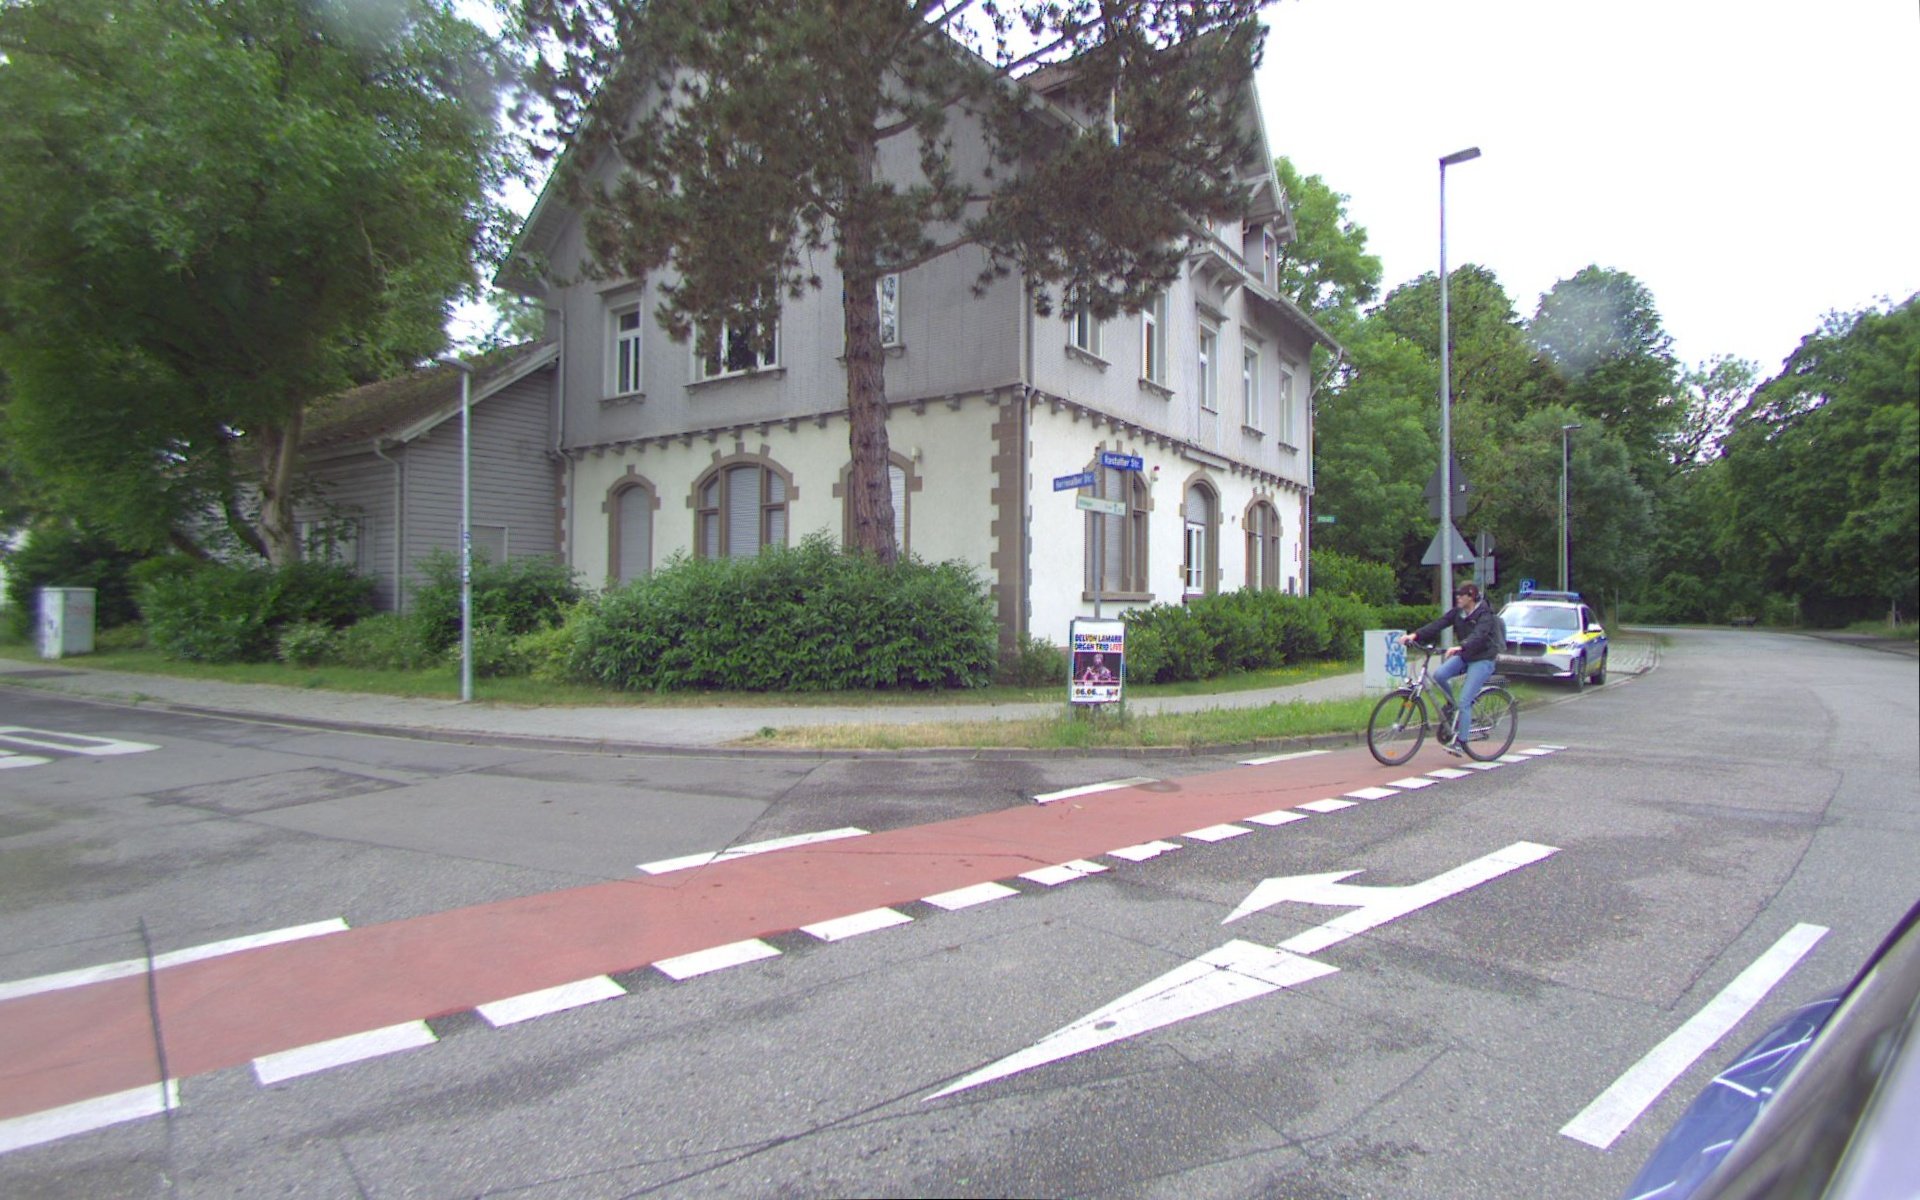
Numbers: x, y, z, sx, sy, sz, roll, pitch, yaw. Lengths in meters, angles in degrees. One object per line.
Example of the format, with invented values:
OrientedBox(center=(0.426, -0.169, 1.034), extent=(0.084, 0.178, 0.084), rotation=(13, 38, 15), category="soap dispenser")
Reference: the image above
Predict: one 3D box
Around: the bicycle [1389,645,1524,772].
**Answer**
OrientedBox(center=(4.659, 0.959, 9.424), extent=(1.994, 0.993, 0.383), rotation=(-1, 0, -41), category="bicycle")

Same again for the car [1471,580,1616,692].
OrientedBox(center=(11.303, 0.610, 19.490), extent=(1.926, 1.873, 3.947), rotation=(3, 1, 37), category="car")

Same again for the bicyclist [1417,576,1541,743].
OrientedBox(center=(4.774, 0.531, 9.309), extent=(0.945, 1.443, 0.622), rotation=(0, -4, -41), category="bicyclist")
